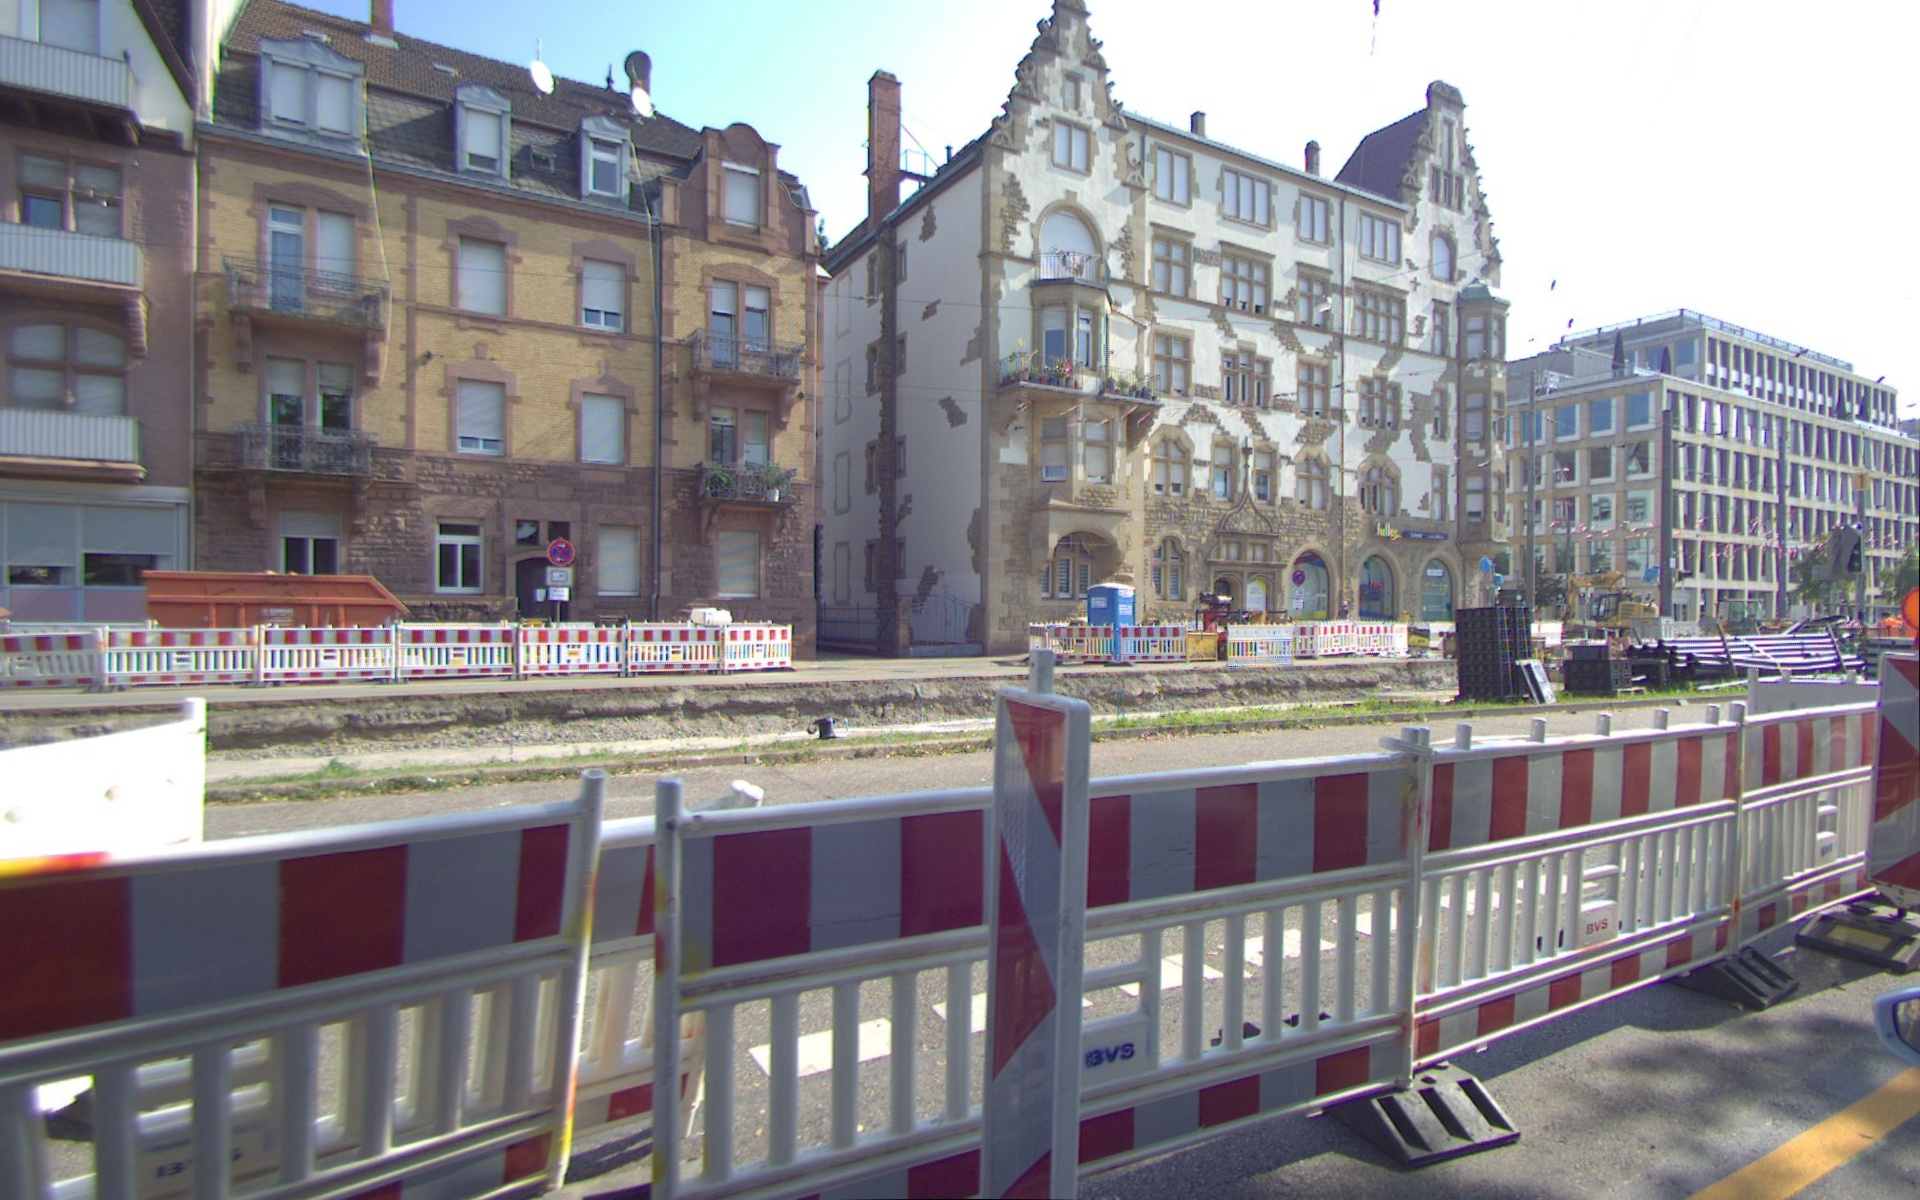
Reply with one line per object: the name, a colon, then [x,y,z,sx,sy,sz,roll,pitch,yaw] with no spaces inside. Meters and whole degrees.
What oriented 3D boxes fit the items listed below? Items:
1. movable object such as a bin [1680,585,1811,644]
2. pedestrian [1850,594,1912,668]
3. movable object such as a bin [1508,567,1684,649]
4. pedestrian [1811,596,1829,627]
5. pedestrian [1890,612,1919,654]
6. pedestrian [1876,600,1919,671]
movable object such as a bin: [39.801,0.734,51.077,4.723,2.872,2.449,0,-1,22]
pedestrian: [23.521,0.794,25.656,0.870,1.841,0.827,0,-1,-16]
movable object such as a bin: [37.114,0.542,58.965,4.890,4.404,7.355,2,-2,-17]
pedestrian: [52.294,0.702,61.082,0.743,1.889,0.807,0,0,36]
pedestrian: [43.427,1.509,46.130,0.712,1.938,0.785,1,-1,-22]
pedestrian: [24.826,0.928,26.401,0.813,1.833,0.755,0,-1,15]
